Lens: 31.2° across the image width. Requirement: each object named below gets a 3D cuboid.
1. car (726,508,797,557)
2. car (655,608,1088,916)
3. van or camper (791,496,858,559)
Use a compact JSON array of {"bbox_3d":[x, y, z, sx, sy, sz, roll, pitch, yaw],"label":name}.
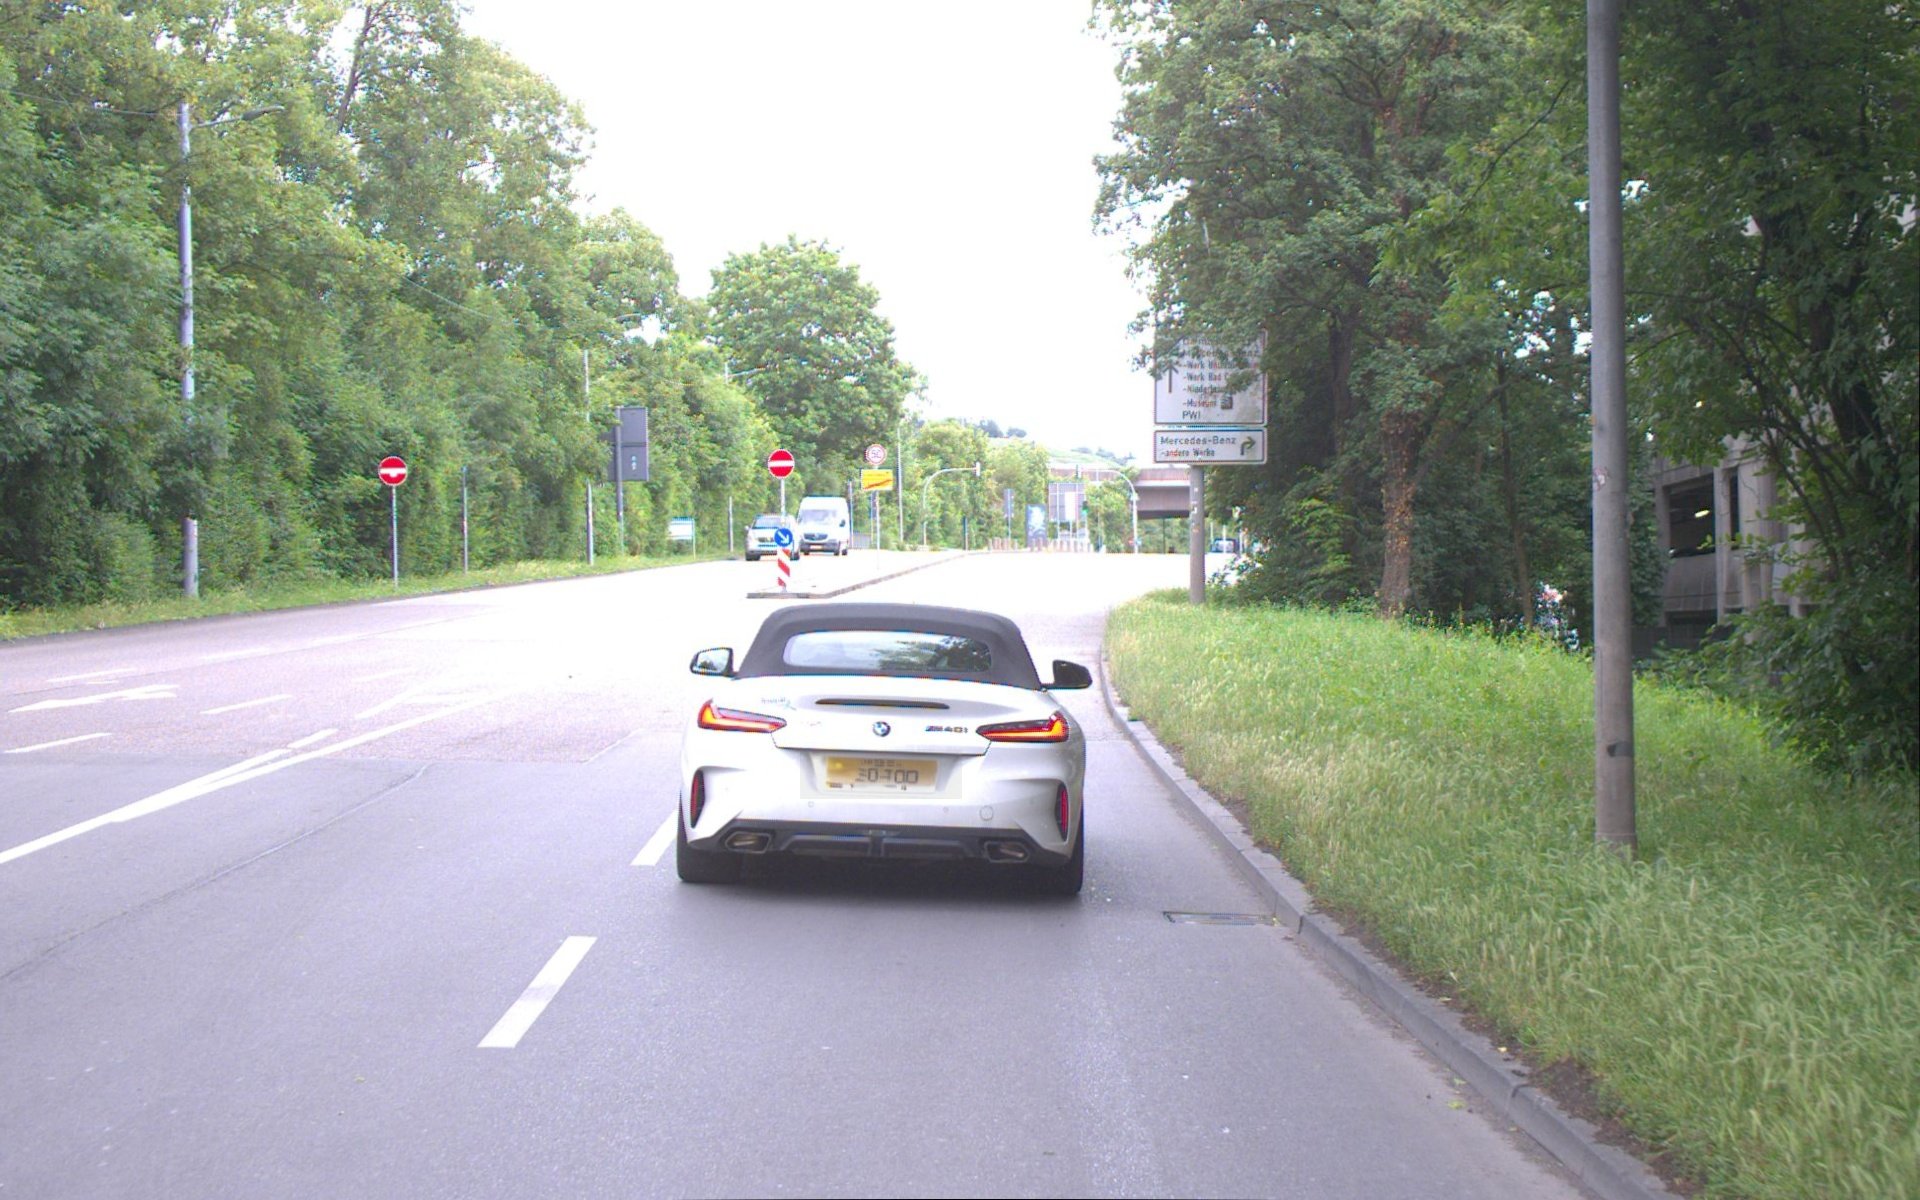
[{"bbox_3d":[-7.584,-2.592,131.680,1.814,1.824,4.382,0,2,9],"label":"car"},{"bbox_3d":[-0.354,0.705,16.828,1.875,1.305,3.873,0,0,1],"label":"car"},{"bbox_3d":[-5.959,-3.196,152.257,2.283,2.546,6.859,4,1,2],"label":"van or camper"}]
